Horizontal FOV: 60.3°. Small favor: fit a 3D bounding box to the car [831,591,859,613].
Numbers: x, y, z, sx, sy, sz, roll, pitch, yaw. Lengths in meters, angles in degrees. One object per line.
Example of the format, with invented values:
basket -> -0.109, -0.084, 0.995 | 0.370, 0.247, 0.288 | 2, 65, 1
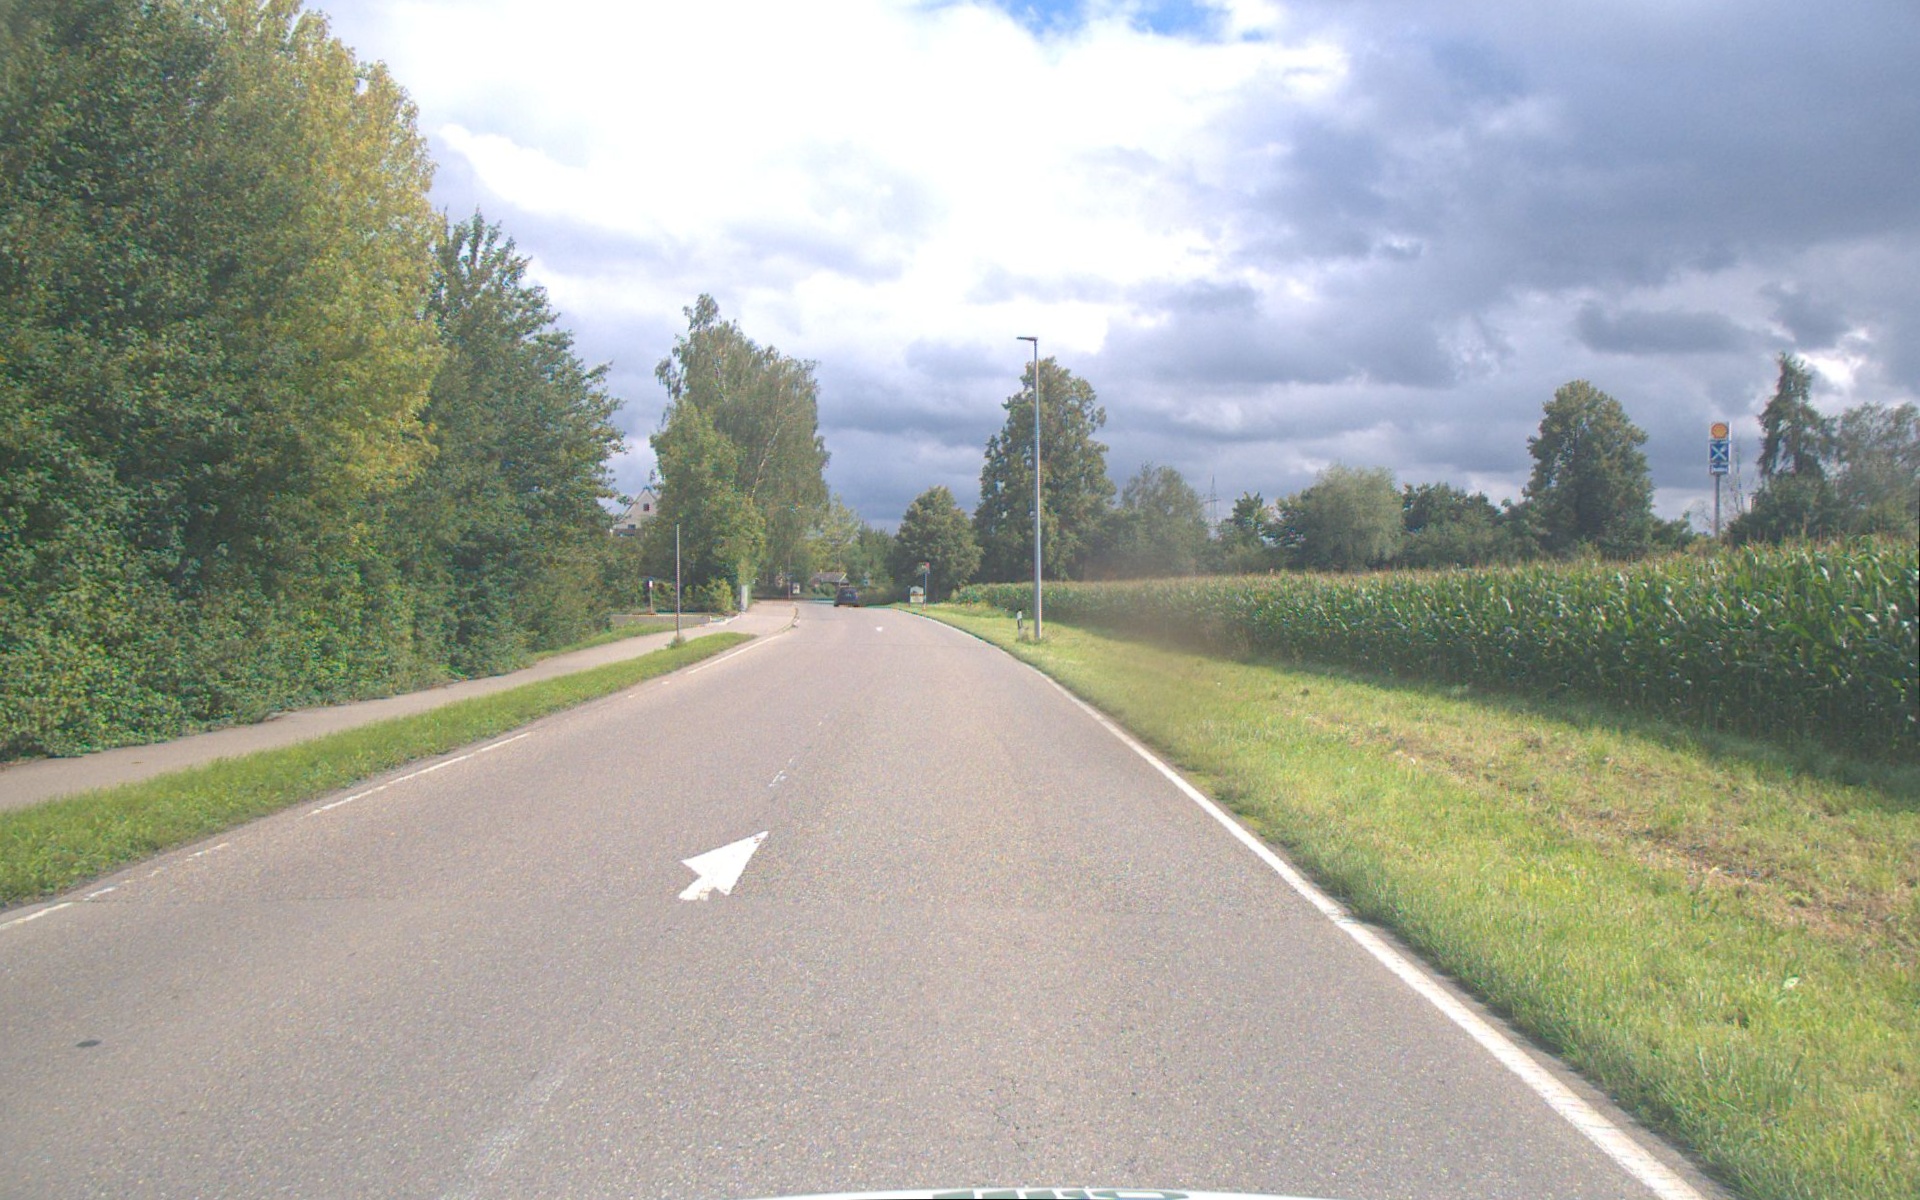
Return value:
car -> -9.112, 0.160, 130.732 | 1.955, 1.612, 3.994 | 2, 0, -7
